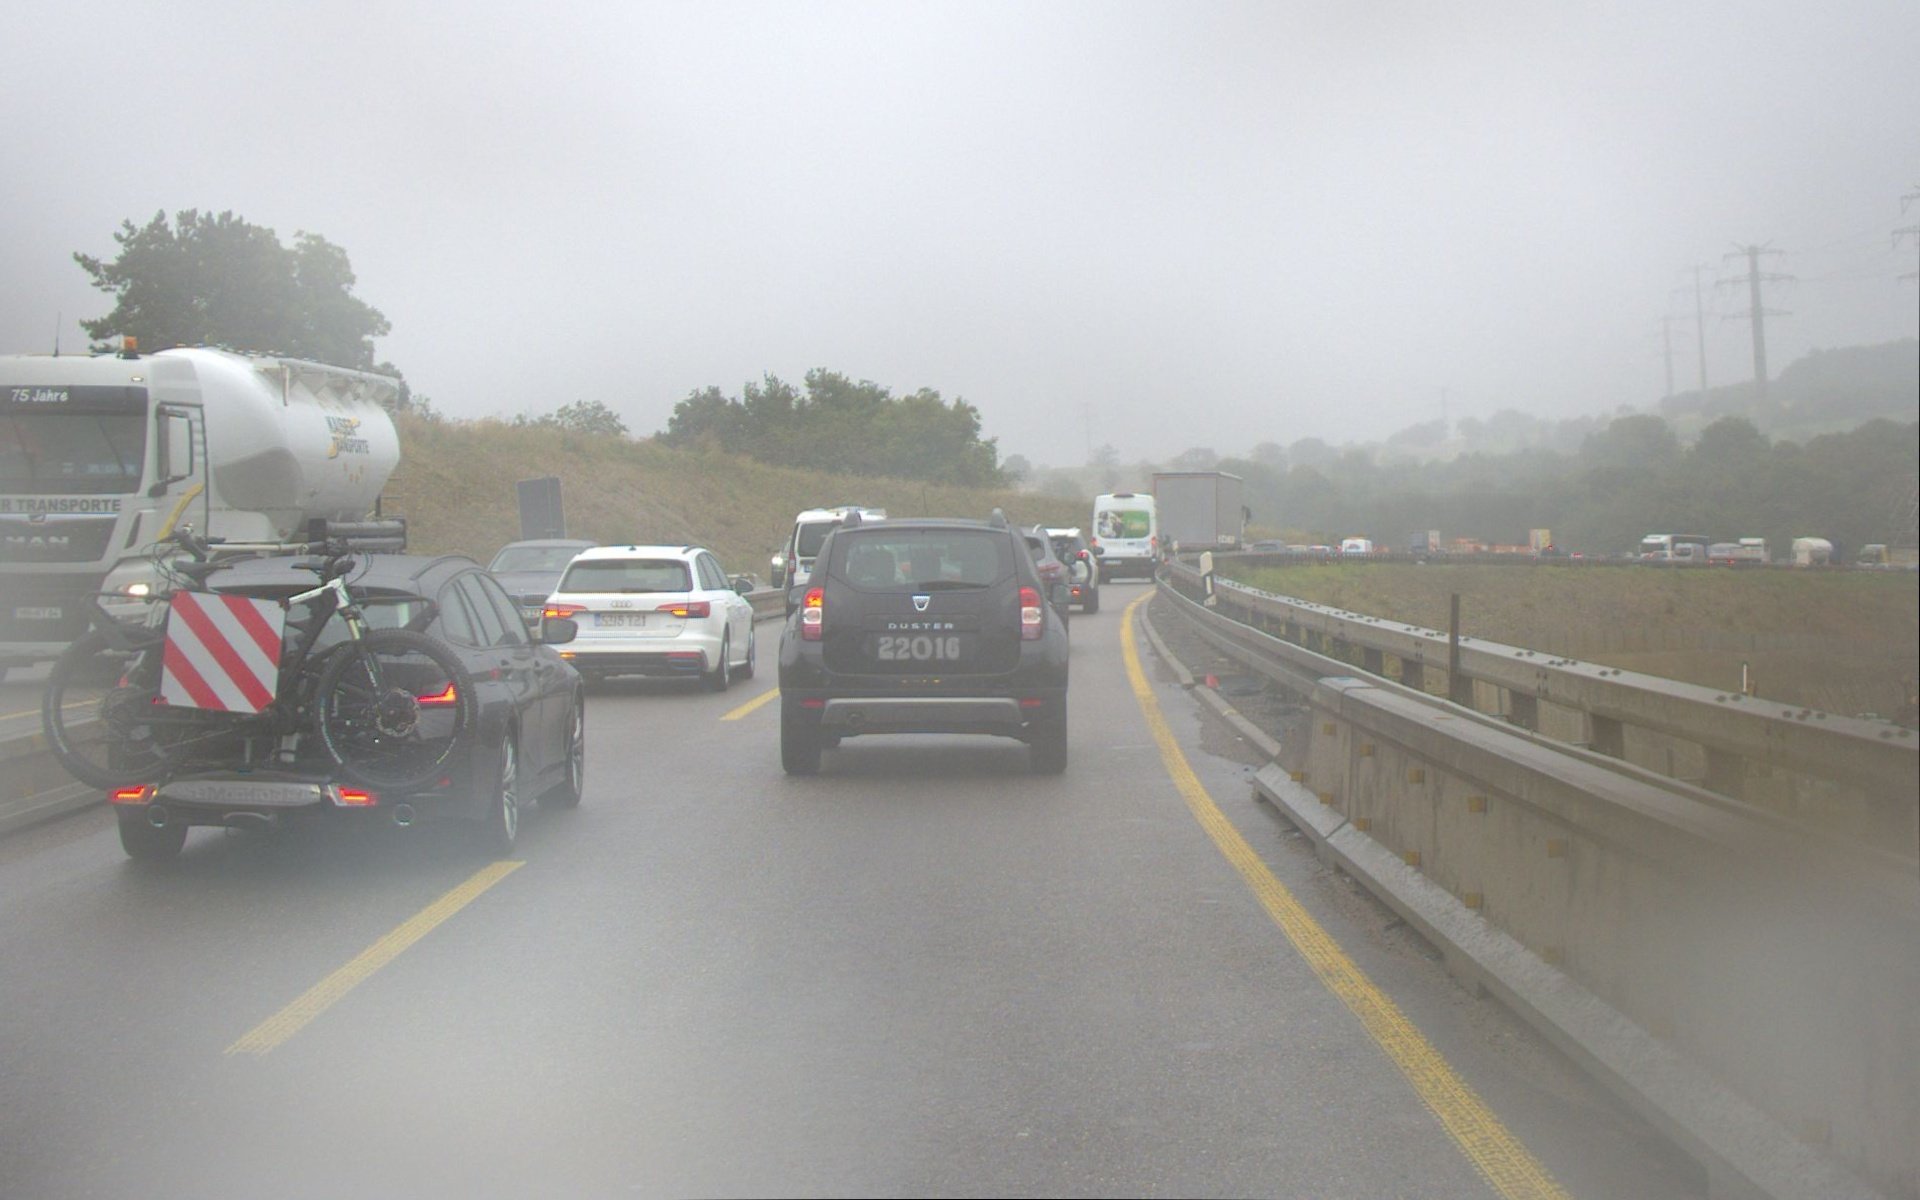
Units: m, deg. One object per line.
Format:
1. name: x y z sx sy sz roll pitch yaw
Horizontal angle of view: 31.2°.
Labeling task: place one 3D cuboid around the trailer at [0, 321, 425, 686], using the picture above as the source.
1. trailer: -9.365 -1.133 43.389 3.255 3.950 11.537 -1 1 1

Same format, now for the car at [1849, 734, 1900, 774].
1. car: 52.404 8.790 197.068 2.366 2.007 3.999 1 1 9

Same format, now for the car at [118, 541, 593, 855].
1. car: -3.061 0.441 18.158 1.829 1.471 3.776 -1 1 0

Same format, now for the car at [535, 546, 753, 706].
1. car: -3.061 0.202 34.074 1.867 1.455 4.549 1 1 -2

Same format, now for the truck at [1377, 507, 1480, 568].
1. truck: 33.385 -4.418 244.145 4.721 4.135 15.670 1 1 17

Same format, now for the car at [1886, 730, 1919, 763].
1. car: 58.399 9.057 212.523 1.994 1.809 3.998 0 1 11

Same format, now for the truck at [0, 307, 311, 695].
1. truck: -9.400 -1.044 38.107 3.231 3.942 5.881 -1 1 0

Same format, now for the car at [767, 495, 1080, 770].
1. car: -0.155 0.173 22.528 1.804 1.640 3.776 0 1 3

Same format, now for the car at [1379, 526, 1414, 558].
1. car: 26.486 -3.519 208.575 1.776 1.909 3.998 1 1 12

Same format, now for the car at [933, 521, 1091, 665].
1. car: 0.599 -0.122 42.954 1.867 1.702 4.001 0 1 0

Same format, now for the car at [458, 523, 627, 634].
1. car: -5.902 -0.326 49.099 1.803 1.434 4.951 -2 1 0

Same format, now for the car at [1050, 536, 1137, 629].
1. car: 2.437 -0.342 62.769 1.530 1.635 4.013 1 1 2

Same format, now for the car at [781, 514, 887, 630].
1. car: -2.091 -0.492 58.030 1.660 1.873 4.020 1 1 0

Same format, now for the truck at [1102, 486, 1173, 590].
1. truck: 5.552 -1.948 108.235 2.149 3.155 6.459 1 1 2

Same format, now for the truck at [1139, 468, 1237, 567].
1. truck: 9.003 -3.206 134.846 3.201 3.748 8.507 1 1 8
